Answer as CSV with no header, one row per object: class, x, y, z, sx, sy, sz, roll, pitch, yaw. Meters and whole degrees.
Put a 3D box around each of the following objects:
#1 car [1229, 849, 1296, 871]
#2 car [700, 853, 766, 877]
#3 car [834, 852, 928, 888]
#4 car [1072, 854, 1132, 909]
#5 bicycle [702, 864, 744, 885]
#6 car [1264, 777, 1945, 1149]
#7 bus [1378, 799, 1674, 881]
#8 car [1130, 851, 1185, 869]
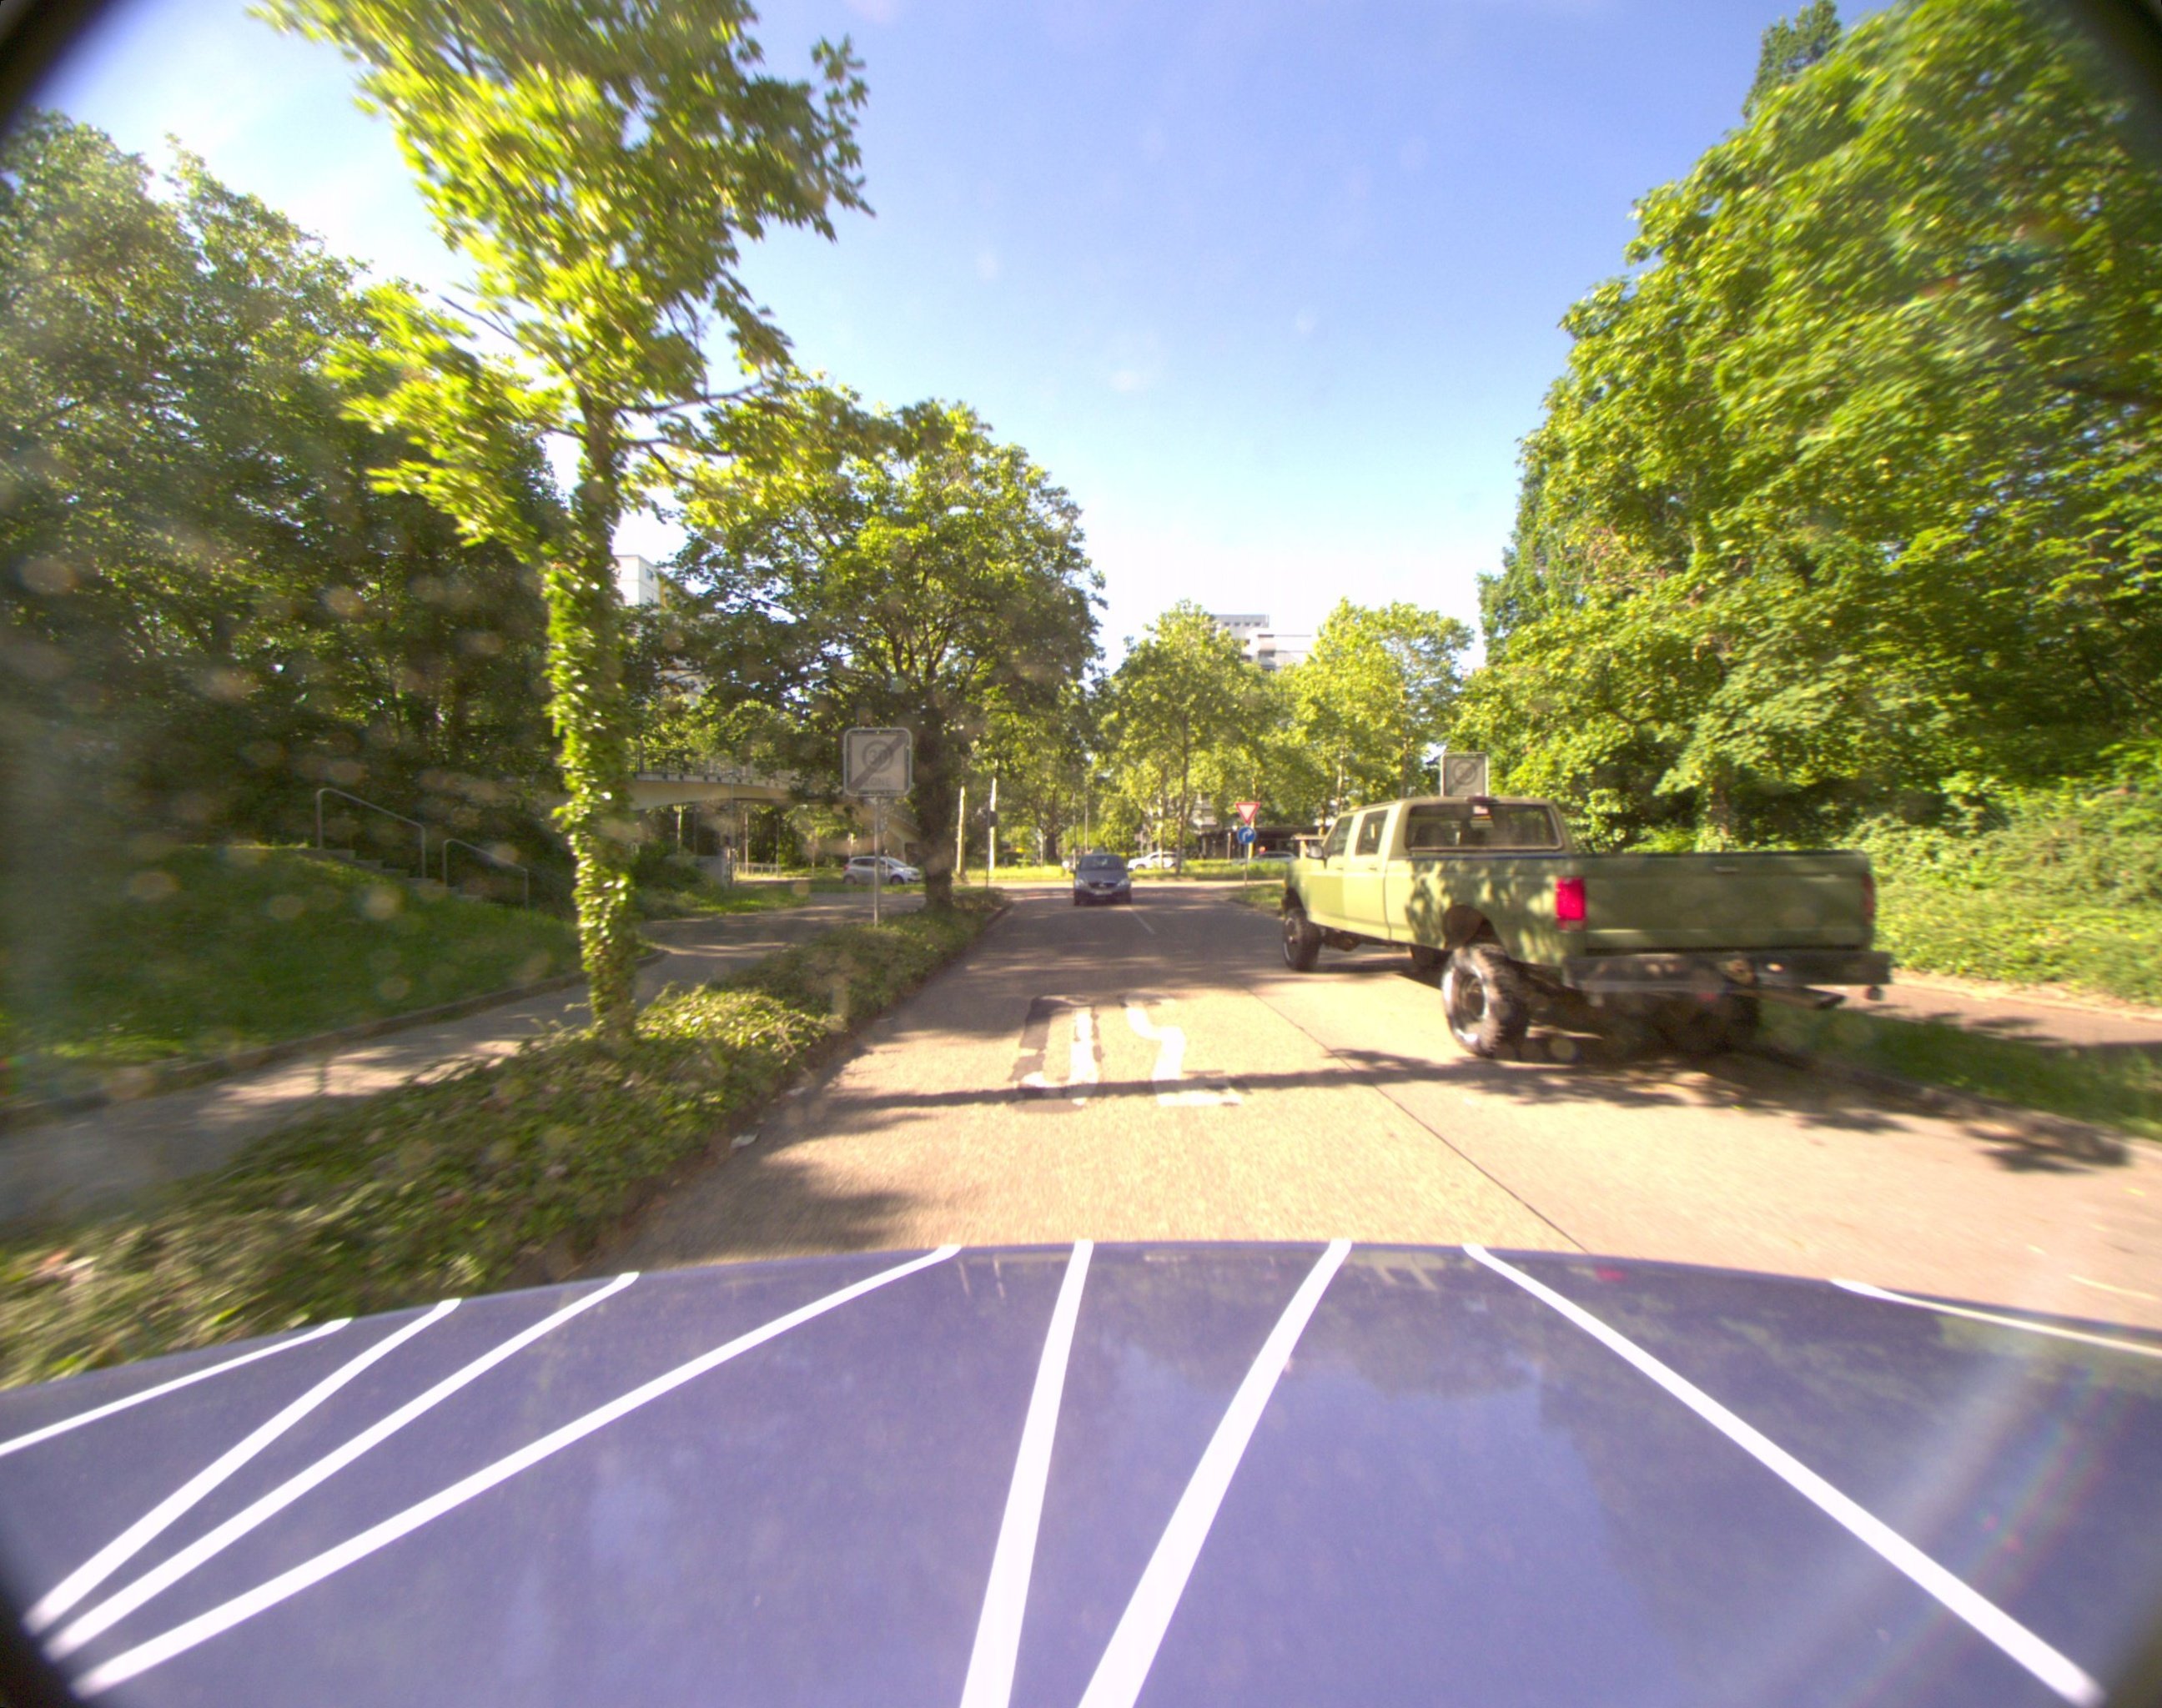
car,13.221,0.426,55.437,4.482,1.384,1.619,-2,1,3
car,-27.214,0.852,59.523,4.330,1.637,1.720,-2,1,3
car,-10.281,0.810,39.100,4.326,1.637,1.721,-2,1,14
car,0.594,0.801,24.395,1.734,1.578,3.999,-1,0,-1
bicycle,-16.854,0.974,35.761,1.717,0.907,0.459,-2,1,2
car,3.807,0.599,7.629,2.125,2.084,6.582,-1,0,-2
bus,20.833,-0.621,36.148,12.138,3.251,2.698,-2,1,4
car,5.797,0.454,58.030,4.062,1.213,1.620,-2,1,5
